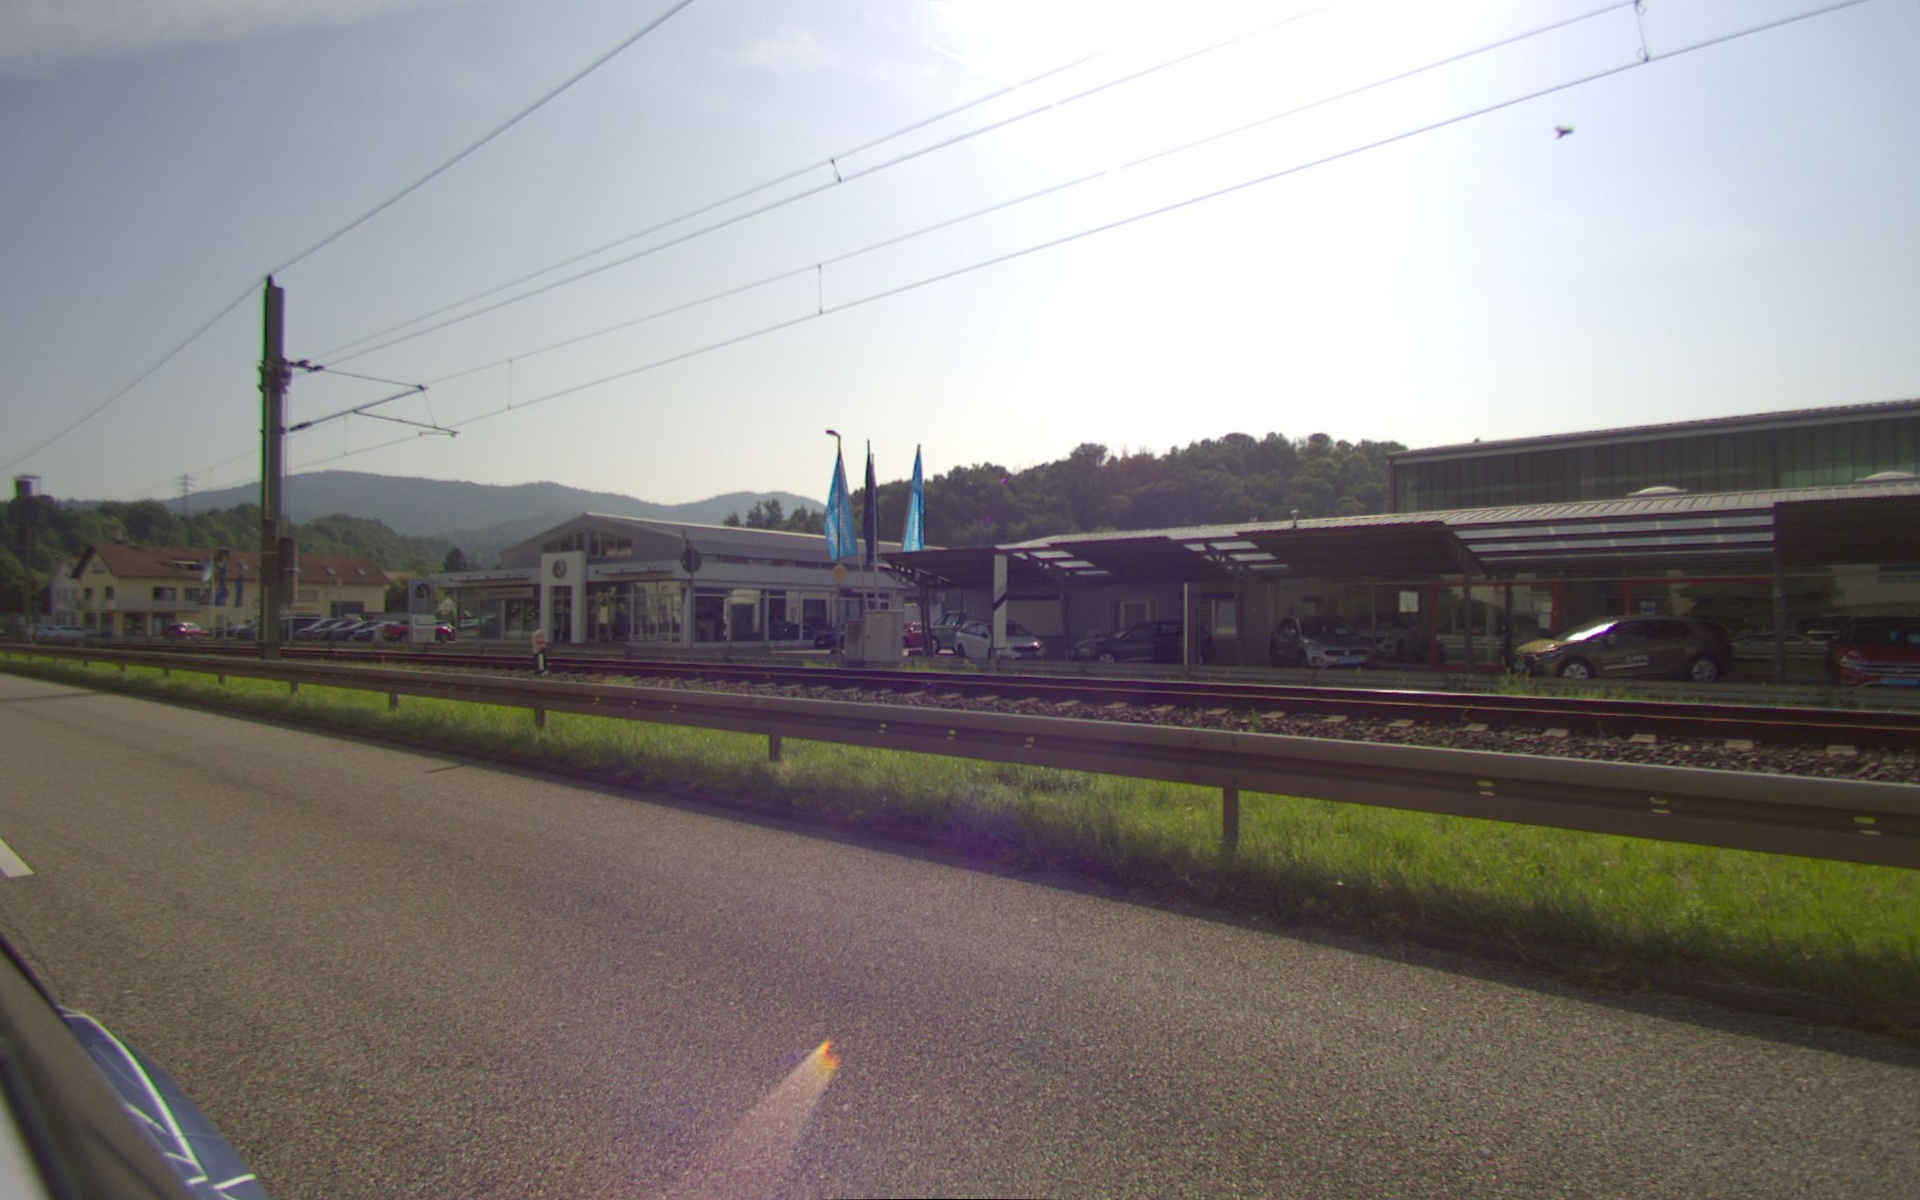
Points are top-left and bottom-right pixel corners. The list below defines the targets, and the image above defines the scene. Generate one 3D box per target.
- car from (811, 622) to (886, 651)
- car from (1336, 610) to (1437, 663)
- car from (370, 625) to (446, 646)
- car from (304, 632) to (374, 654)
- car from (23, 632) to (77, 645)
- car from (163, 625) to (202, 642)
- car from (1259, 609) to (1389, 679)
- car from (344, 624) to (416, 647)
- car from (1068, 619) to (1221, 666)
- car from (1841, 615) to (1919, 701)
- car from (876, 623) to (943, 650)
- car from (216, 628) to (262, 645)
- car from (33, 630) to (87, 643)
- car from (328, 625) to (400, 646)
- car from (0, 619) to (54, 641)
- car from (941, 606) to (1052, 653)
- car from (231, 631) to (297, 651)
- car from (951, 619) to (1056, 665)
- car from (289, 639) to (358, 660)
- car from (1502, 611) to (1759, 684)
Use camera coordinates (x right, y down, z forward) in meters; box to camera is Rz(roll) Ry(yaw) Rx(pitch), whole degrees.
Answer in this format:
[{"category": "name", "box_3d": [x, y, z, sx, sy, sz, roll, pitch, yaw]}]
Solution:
[{"category": "car", "box_3d": [-5.671, 1.829, 51.819, 1.616, 1.431, 3.951, -1, -2, 36]}, {"category": "car", "box_3d": [13.246, 1.091, 31.286, 1.905, 1.517, 4.124, -1, -2, 37]}, {"category": "car", "box_3d": [-36.013, 2.314, 66.119, 1.855, 1.385, 3.956, -1, -2, 32]}, {"category": "car", "box_3d": [-44.555, 3.064, 72.686, 1.758, 1.471, 3.949, -2, -2, 37]}, {"category": "car", "box_3d": [-93.488, 3.926, 104.018, 1.643, 1.309, 3.816, -1, -2, 32]}, {"category": "car", "box_3d": [-67.494, 2.927, 87.885, 1.829, 1.471, 4.013, 1, -2, -24]}, {"category": "car", "box_3d": [9.533, 1.091, 26.868, 1.821, 1.539, 4.271, -2, 1, 0]}, {"category": "car", "box_3d": [-39.434, 2.405, 68.884, 1.752, 1.471, 3.963, -1, -2, 27]}, {"category": "car", "box_3d": [5.433, 1.252, 30.170, 4.148, 1.352, 1.847, 0, -1, -1]}, {"category": "car", "box_3d": [17.981, 1.039, 19.360, 1.500, 1.335, 3.918, -1, 1, 39]}, {"category": "car", "box_3d": [-2.779, 2.017, 56.407, 1.616, 1.431, 3.951, -1, -2, 36]}, {"category": "car", "box_3d": [-70.234, 3.560, 98.625, 3.487, 1.588, 1.653, 1, -2, -32]}, {"category": "car", "box_3d": [-91.128, 3.709, 102.485, 1.643, 1.309, 3.816, -1, -2, 32]}, {"category": "car", "box_3d": [-41.724, 2.483, 70.932, 1.758, 1.471, 3.949, -2, -2, 37]}, {"category": "car", "box_3d": [-106.160, 3.390, 114.127, 2.231, 2.435, 5.524, -2, -2, 35]}, {"category": "car", "box_3d": [1.507, 1.252, 43.112, 4.549, 1.872, 1.879, -1, -2, 40]}, {"category": "car", "box_3d": [-54.685, 3.206, 79.553, 1.758, 1.471, 3.949, -2, -2, 37]}, {"category": "car", "box_3d": [1.338, 1.334, 33.107, 1.815, 1.396, 4.537, 0, -1, -20]}, {"category": "car", "box_3d": [-47.007, 3.635, 74.778, 1.758, 1.471, 3.949, -2, -2, 37]}, {"category": "car", "box_3d": [14.748, 1.036, 22.465, 4.376, 1.517, 1.846, 0, -1, 3]}]
